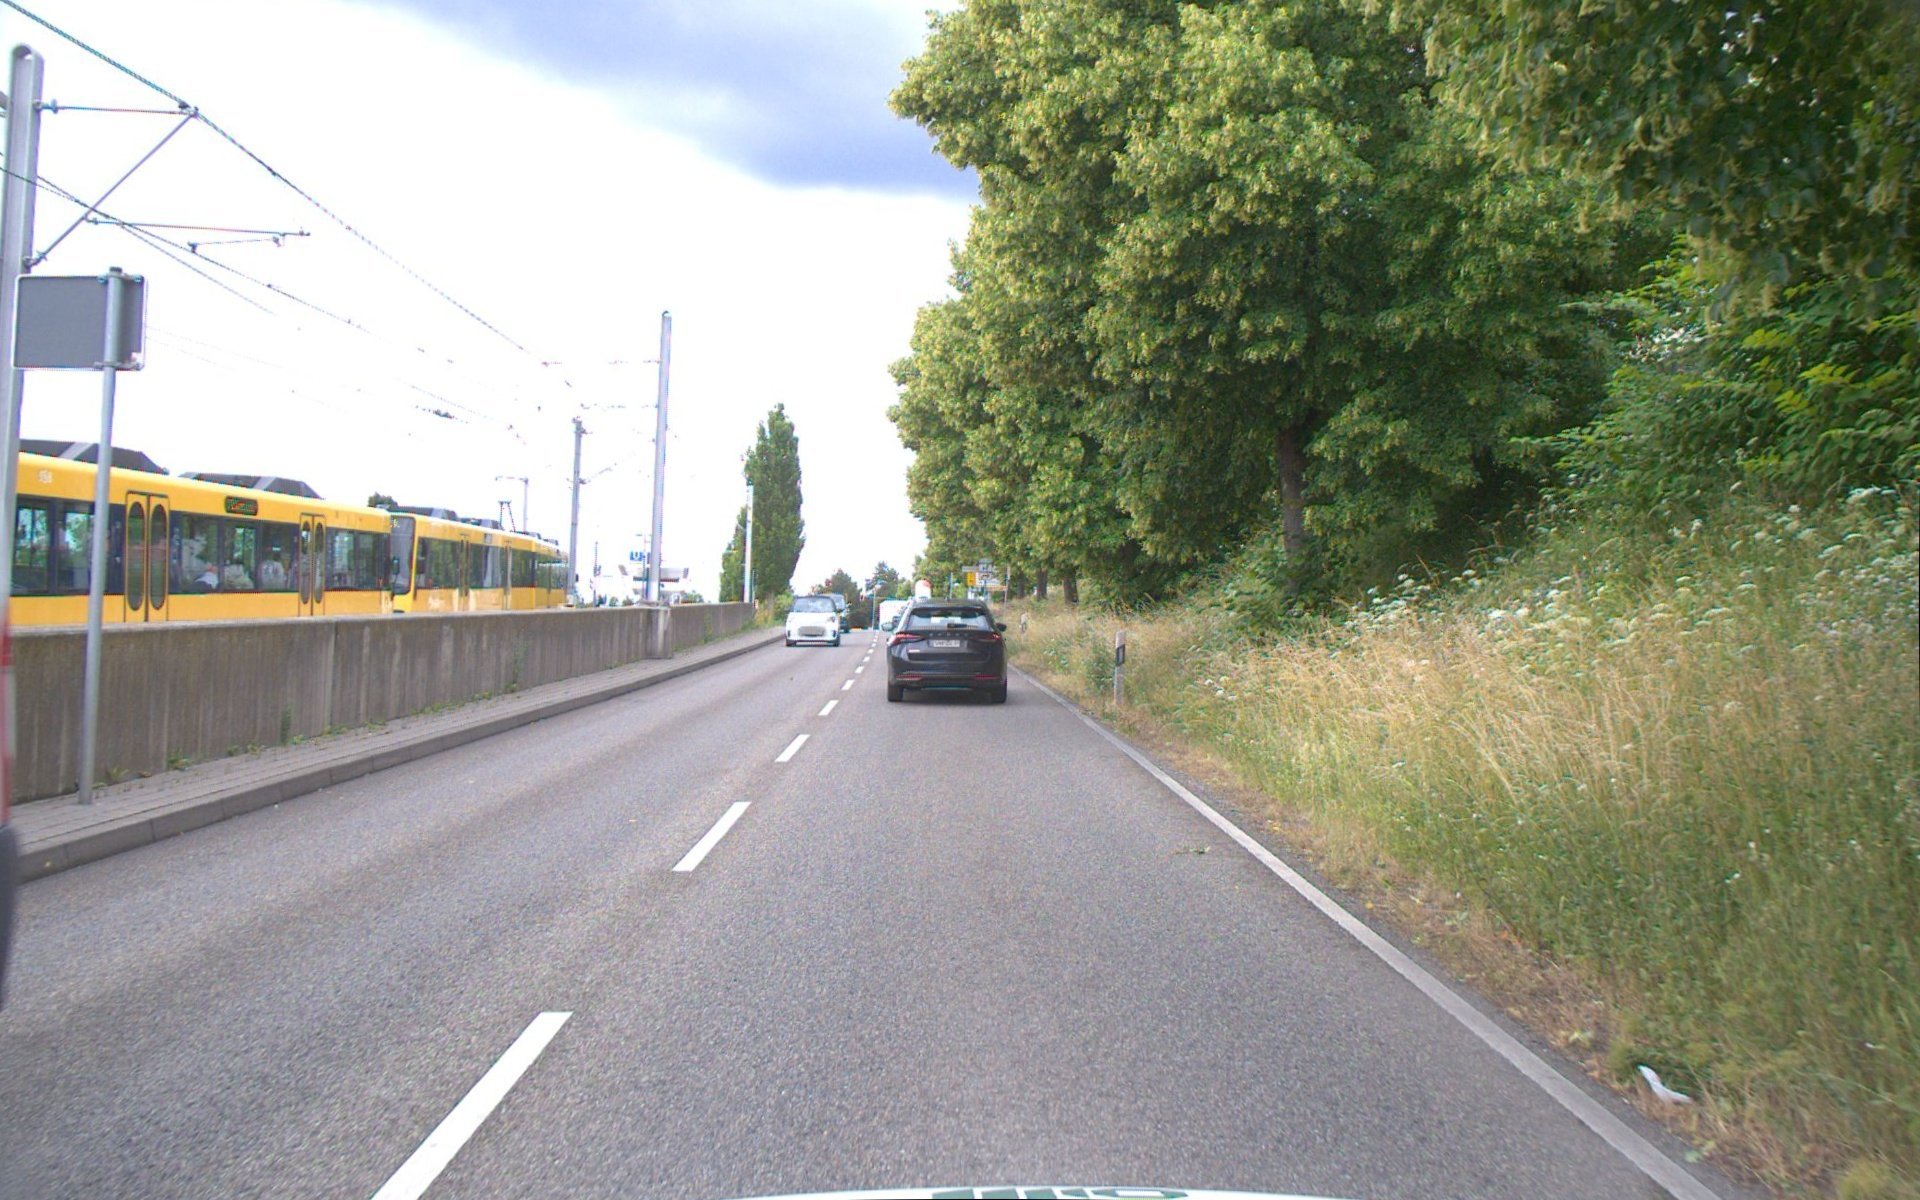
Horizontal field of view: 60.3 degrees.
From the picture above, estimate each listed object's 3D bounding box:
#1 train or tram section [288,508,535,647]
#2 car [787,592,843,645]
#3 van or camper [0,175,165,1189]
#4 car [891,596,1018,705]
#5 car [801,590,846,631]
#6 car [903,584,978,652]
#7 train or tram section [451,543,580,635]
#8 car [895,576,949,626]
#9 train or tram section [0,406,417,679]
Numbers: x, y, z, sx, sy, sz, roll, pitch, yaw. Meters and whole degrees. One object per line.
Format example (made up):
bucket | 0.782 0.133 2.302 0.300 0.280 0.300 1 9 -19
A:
train or tram section | -14.648 -0.421 46.378 2.747 3.078 19.278 0 -1 -7
car | -4.610 0.550 52.694 1.697 1.599 3.996 -1 0 -5
van or camper | -3.269 0.204 1.724 2.040 2.438 6.135 0 0 -2
car | -0.115 0.692 24.721 1.745 1.493 3.999 0 0 -1
car | -6.076 0.448 73.928 1.872 1.799 4.304 0 0 -3
car | -0.546 0.471 45.231 1.953 1.783 3.999 0 0 -1
train or tram section | -17.125 -0.285 65.082 2.744 3.075 18.841 0 -1 -9
car | -1.402 0.049 61.415 1.953 1.771 3.999 0 -1 -1
train or tram section | -12.929 -0.587 27.417 2.748 3.130 19.086 0 -1 -4
